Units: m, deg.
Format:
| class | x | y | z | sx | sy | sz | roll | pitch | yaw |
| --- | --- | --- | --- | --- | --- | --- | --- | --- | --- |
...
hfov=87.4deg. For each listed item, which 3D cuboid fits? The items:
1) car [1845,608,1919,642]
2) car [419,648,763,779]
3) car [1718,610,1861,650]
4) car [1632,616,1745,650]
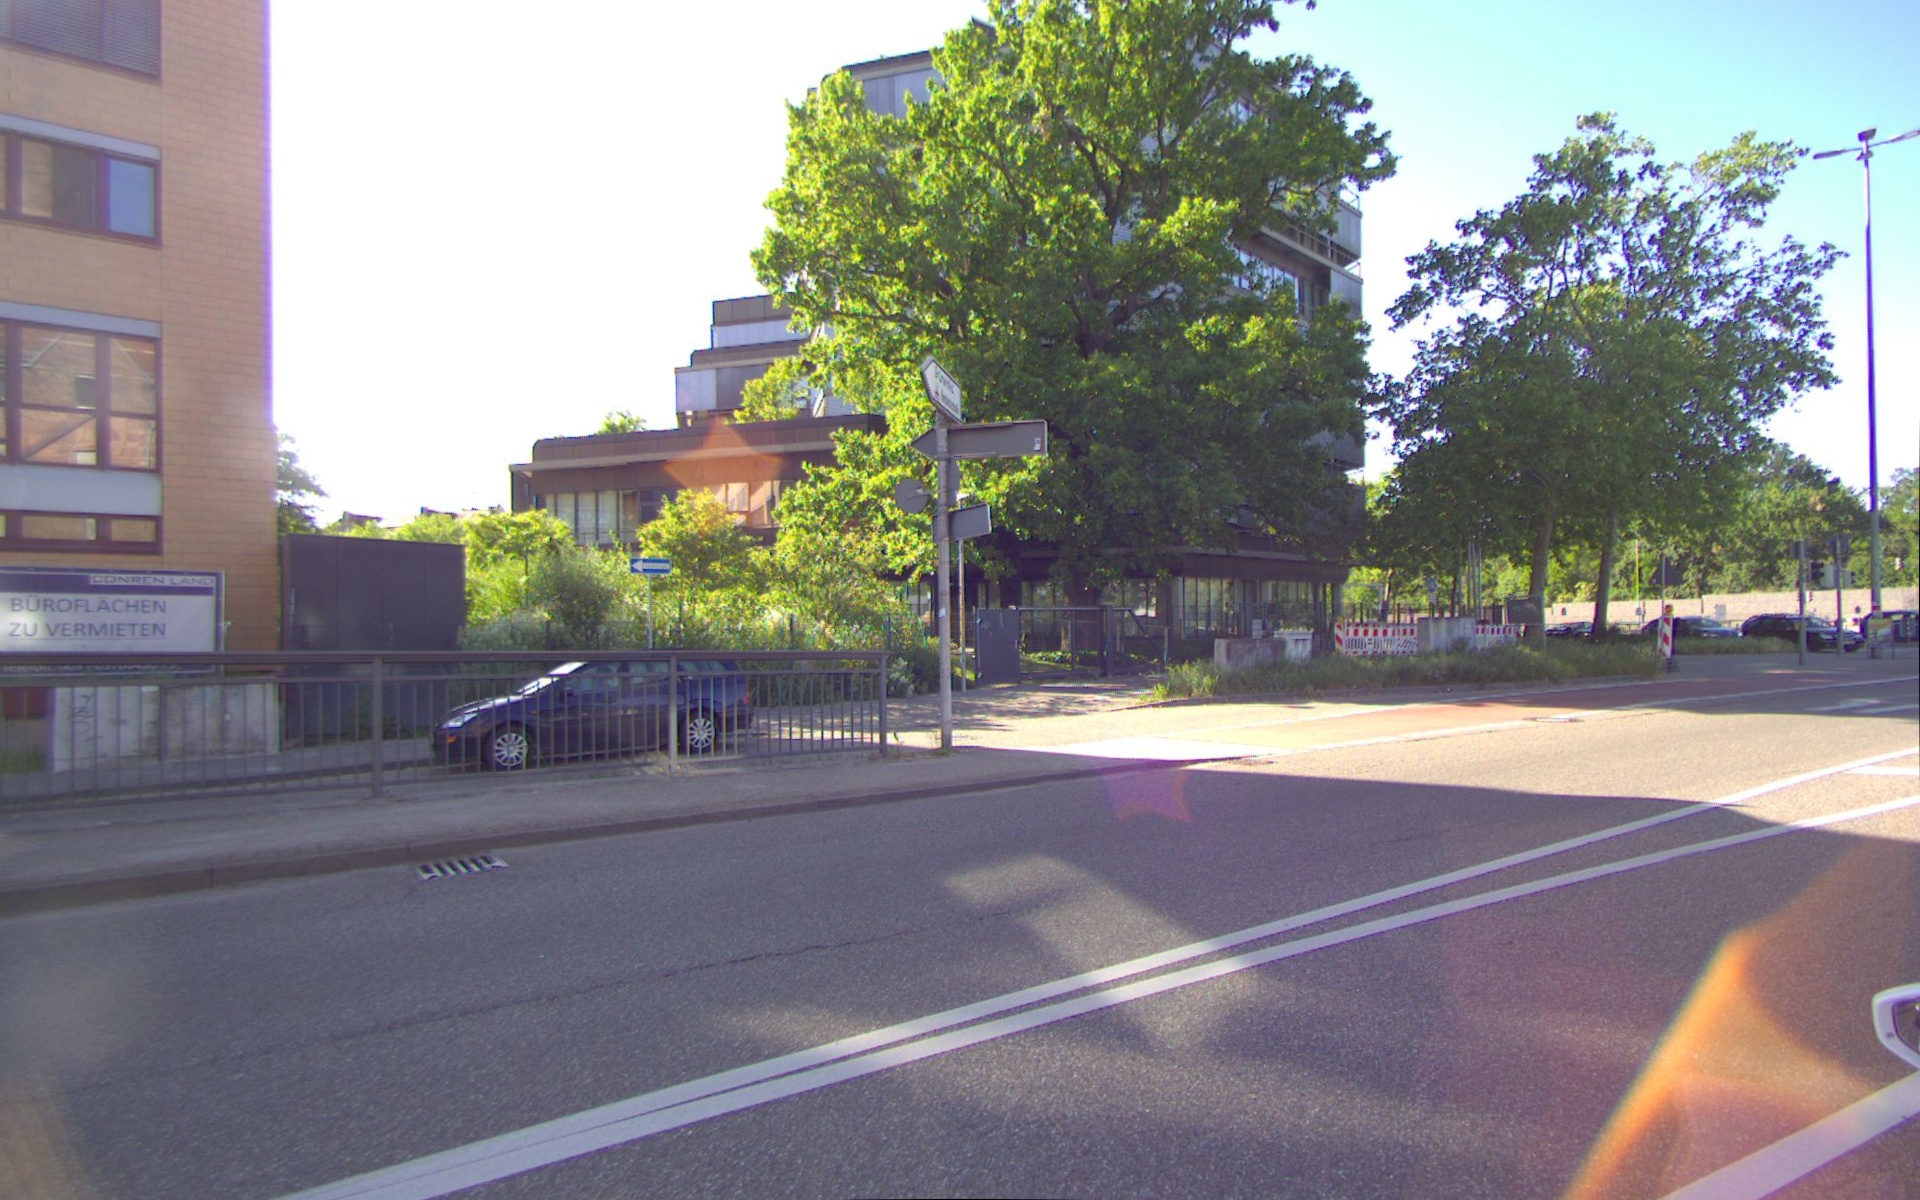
| class | x | y | z | sx | sy | sz | roll | pitch | yaw |
| --- | --- | --- | --- | --- | --- | --- | --- | --- | --- |
| car | 41.624 | 1.087 | 43.783 | 1.793 | 1.457 | 4.445 | -1 | -2 | -9 |
| car | -5.268 | 1.511 | 14.573 | 4.405 | 1.523 | 1.809 | 0 | -2 | -35 |
| car | 32.688 | 1.200 | 39.754 | 1.791 | 1.457 | 4.449 | -1 | -2 | -4 |
| car | 33.383 | 1.517 | 46.207 | 1.791 | 1.457 | 4.449 | -1 | -2 | -4 |
